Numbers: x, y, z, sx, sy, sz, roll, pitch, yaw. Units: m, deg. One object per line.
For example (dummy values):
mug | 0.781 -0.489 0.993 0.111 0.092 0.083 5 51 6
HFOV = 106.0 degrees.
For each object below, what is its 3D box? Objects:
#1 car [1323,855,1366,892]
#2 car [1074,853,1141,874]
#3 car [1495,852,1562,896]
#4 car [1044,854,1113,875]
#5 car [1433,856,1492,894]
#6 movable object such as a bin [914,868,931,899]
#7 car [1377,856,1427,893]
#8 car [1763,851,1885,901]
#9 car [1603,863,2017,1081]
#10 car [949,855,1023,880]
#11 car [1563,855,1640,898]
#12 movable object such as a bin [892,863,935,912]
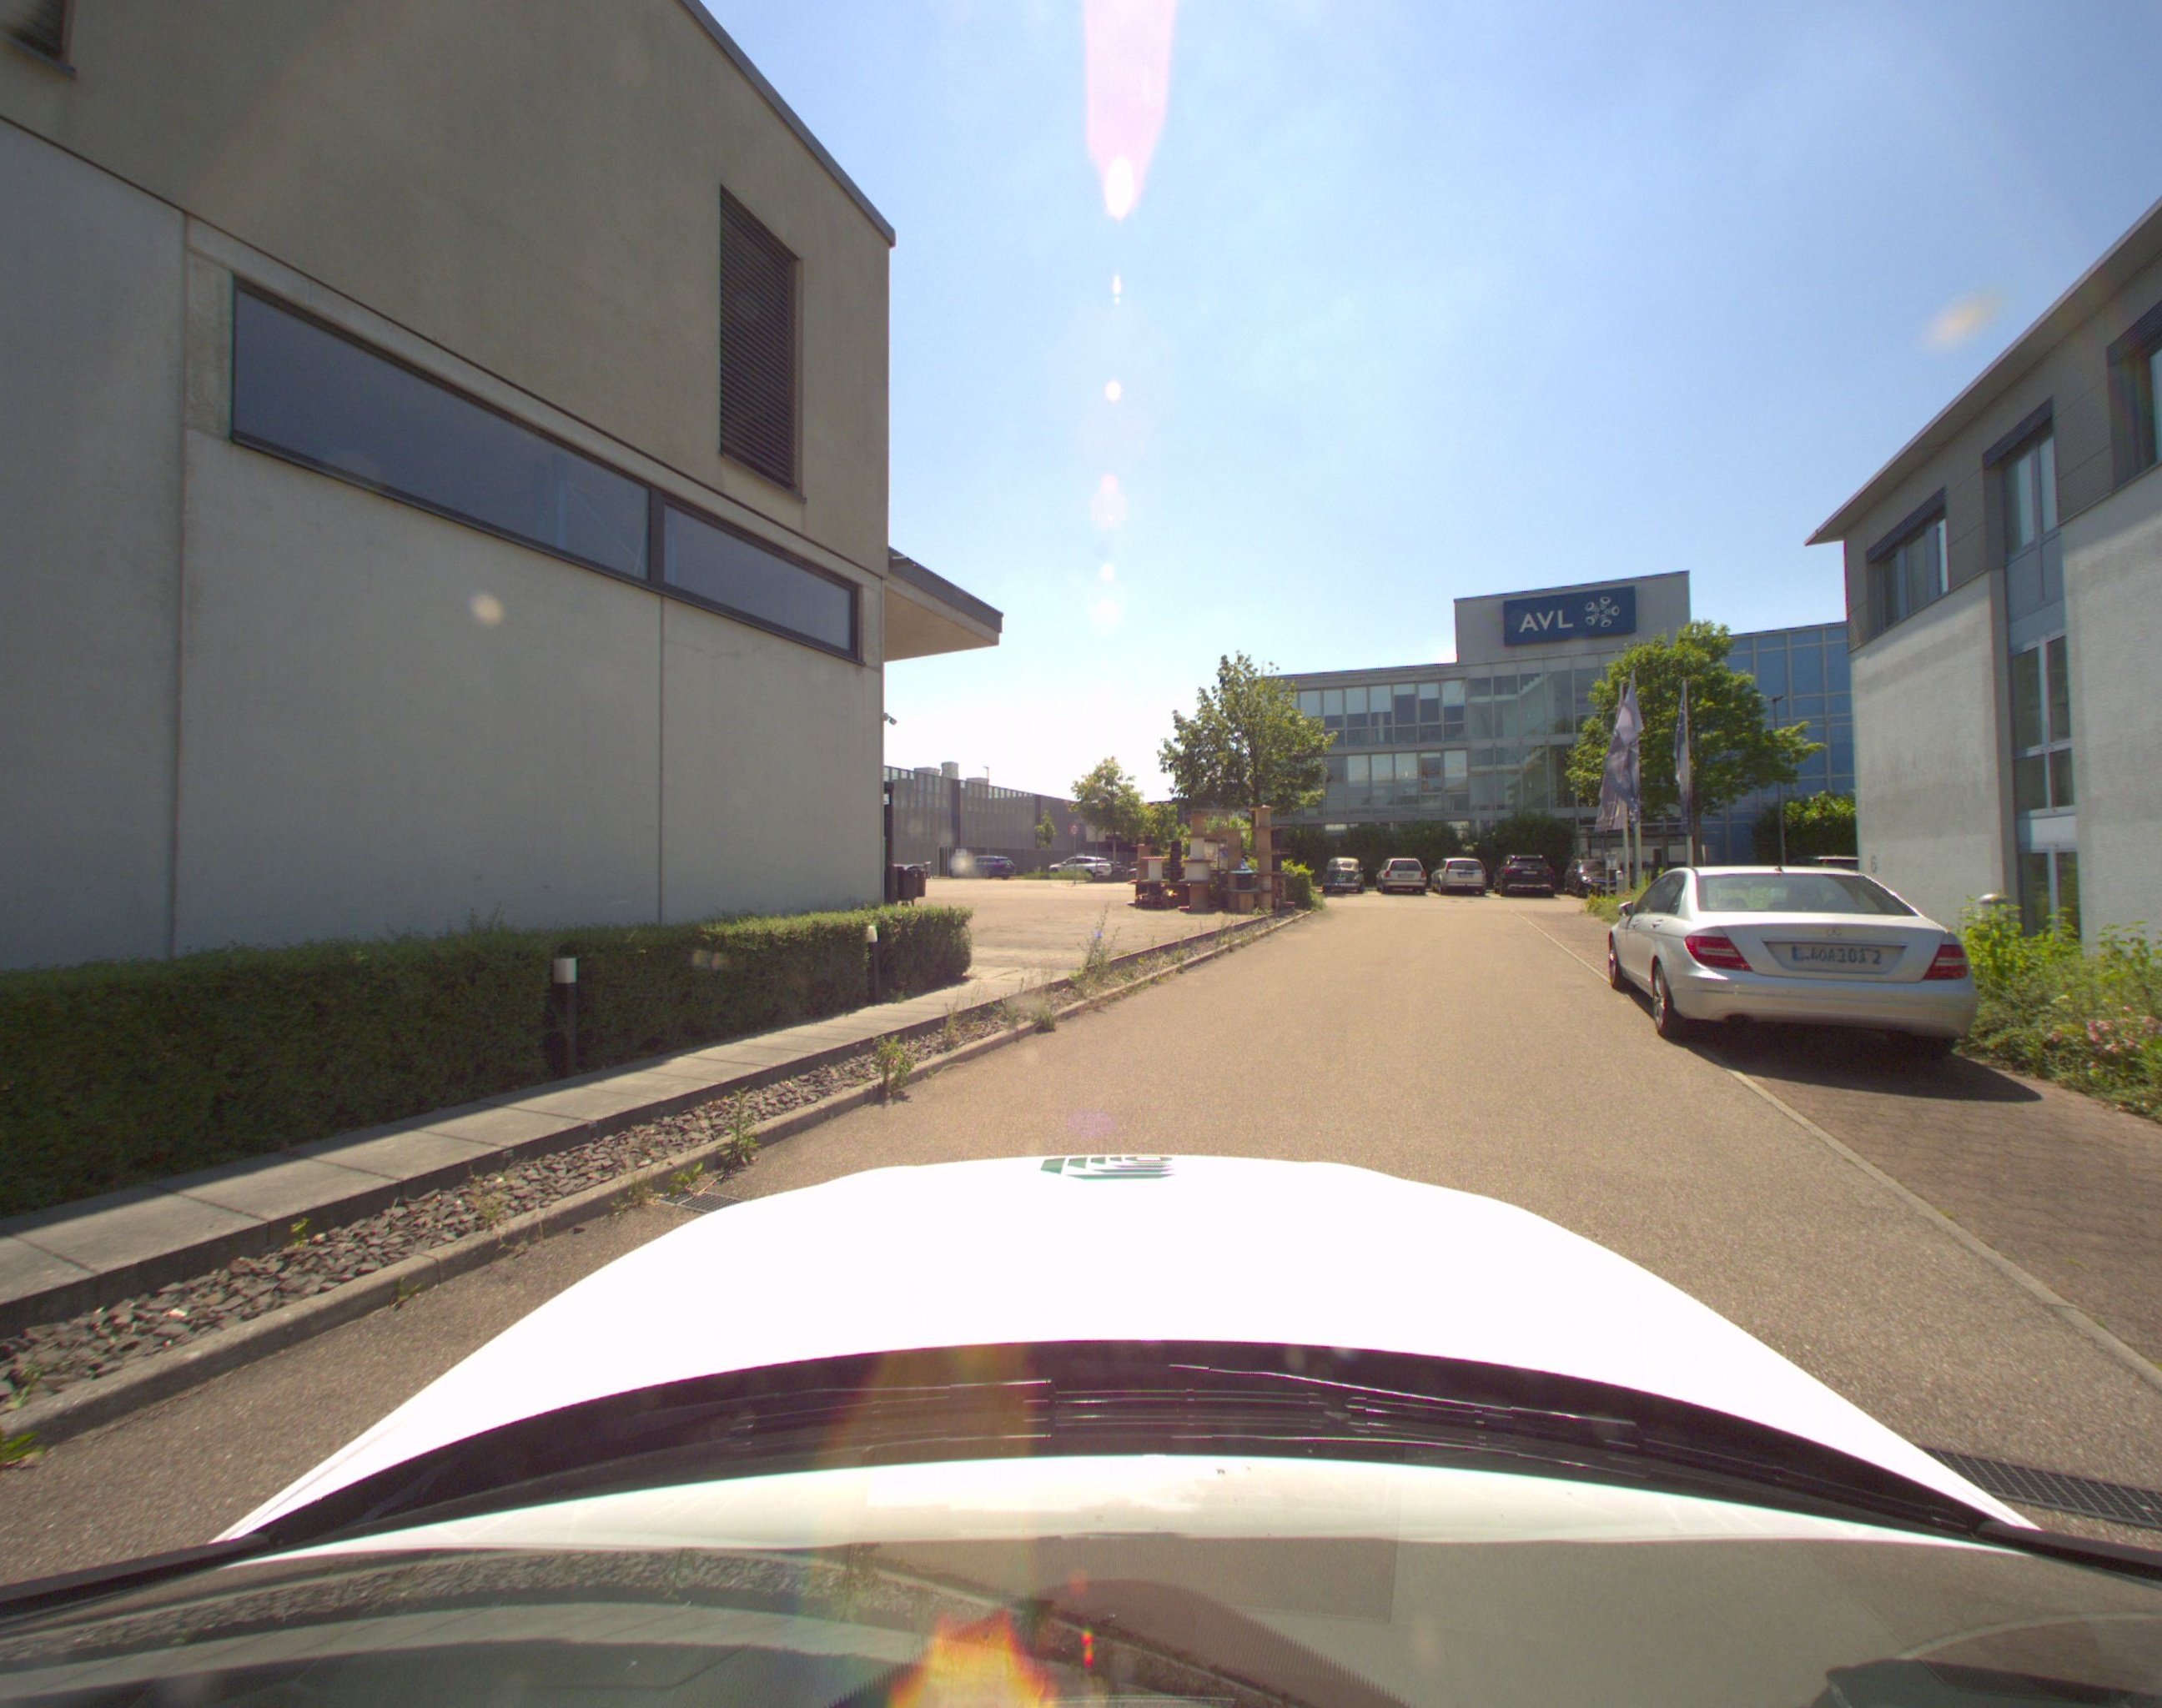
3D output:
car | 11.237 0.797 34.610 1.528 1.449 3.673 0 0 22
car | 1.946 0.685 61.364 4.792 1.491 2.013 0 0 37
car | 17.807 0.740 32.550 1.910 1.610 4.008 0 0 22
car | -0.224 0.724 59.150 4.792 1.491 2.013 0 0 37
car | 15.680 0.812 33.603 1.751 1.449 3.671 0 0 18
movable object such as a bin | -5.473 1.016 28.113 0.577 1.036 0.424 0 -1 -10
car | 13.353 0.812 34.002 1.718 1.449 3.671 0 0 18
car | 26.262 0.723 28.986 1.803 1.619 4.363 -1 0 22
car | 6.214 0.793 7.624 1.782 1.398 4.446 -1 -1 27
car | -6.006 0.794 51.065 4.456 1.491 2.013 0 0 37
car | 20.151 0.828 31.679 1.754 1.482 4.281 -1 0 22
movable object such as a bin | -4.795 0.943 23.289 0.803 1.345 0.889 -1 -1 29
